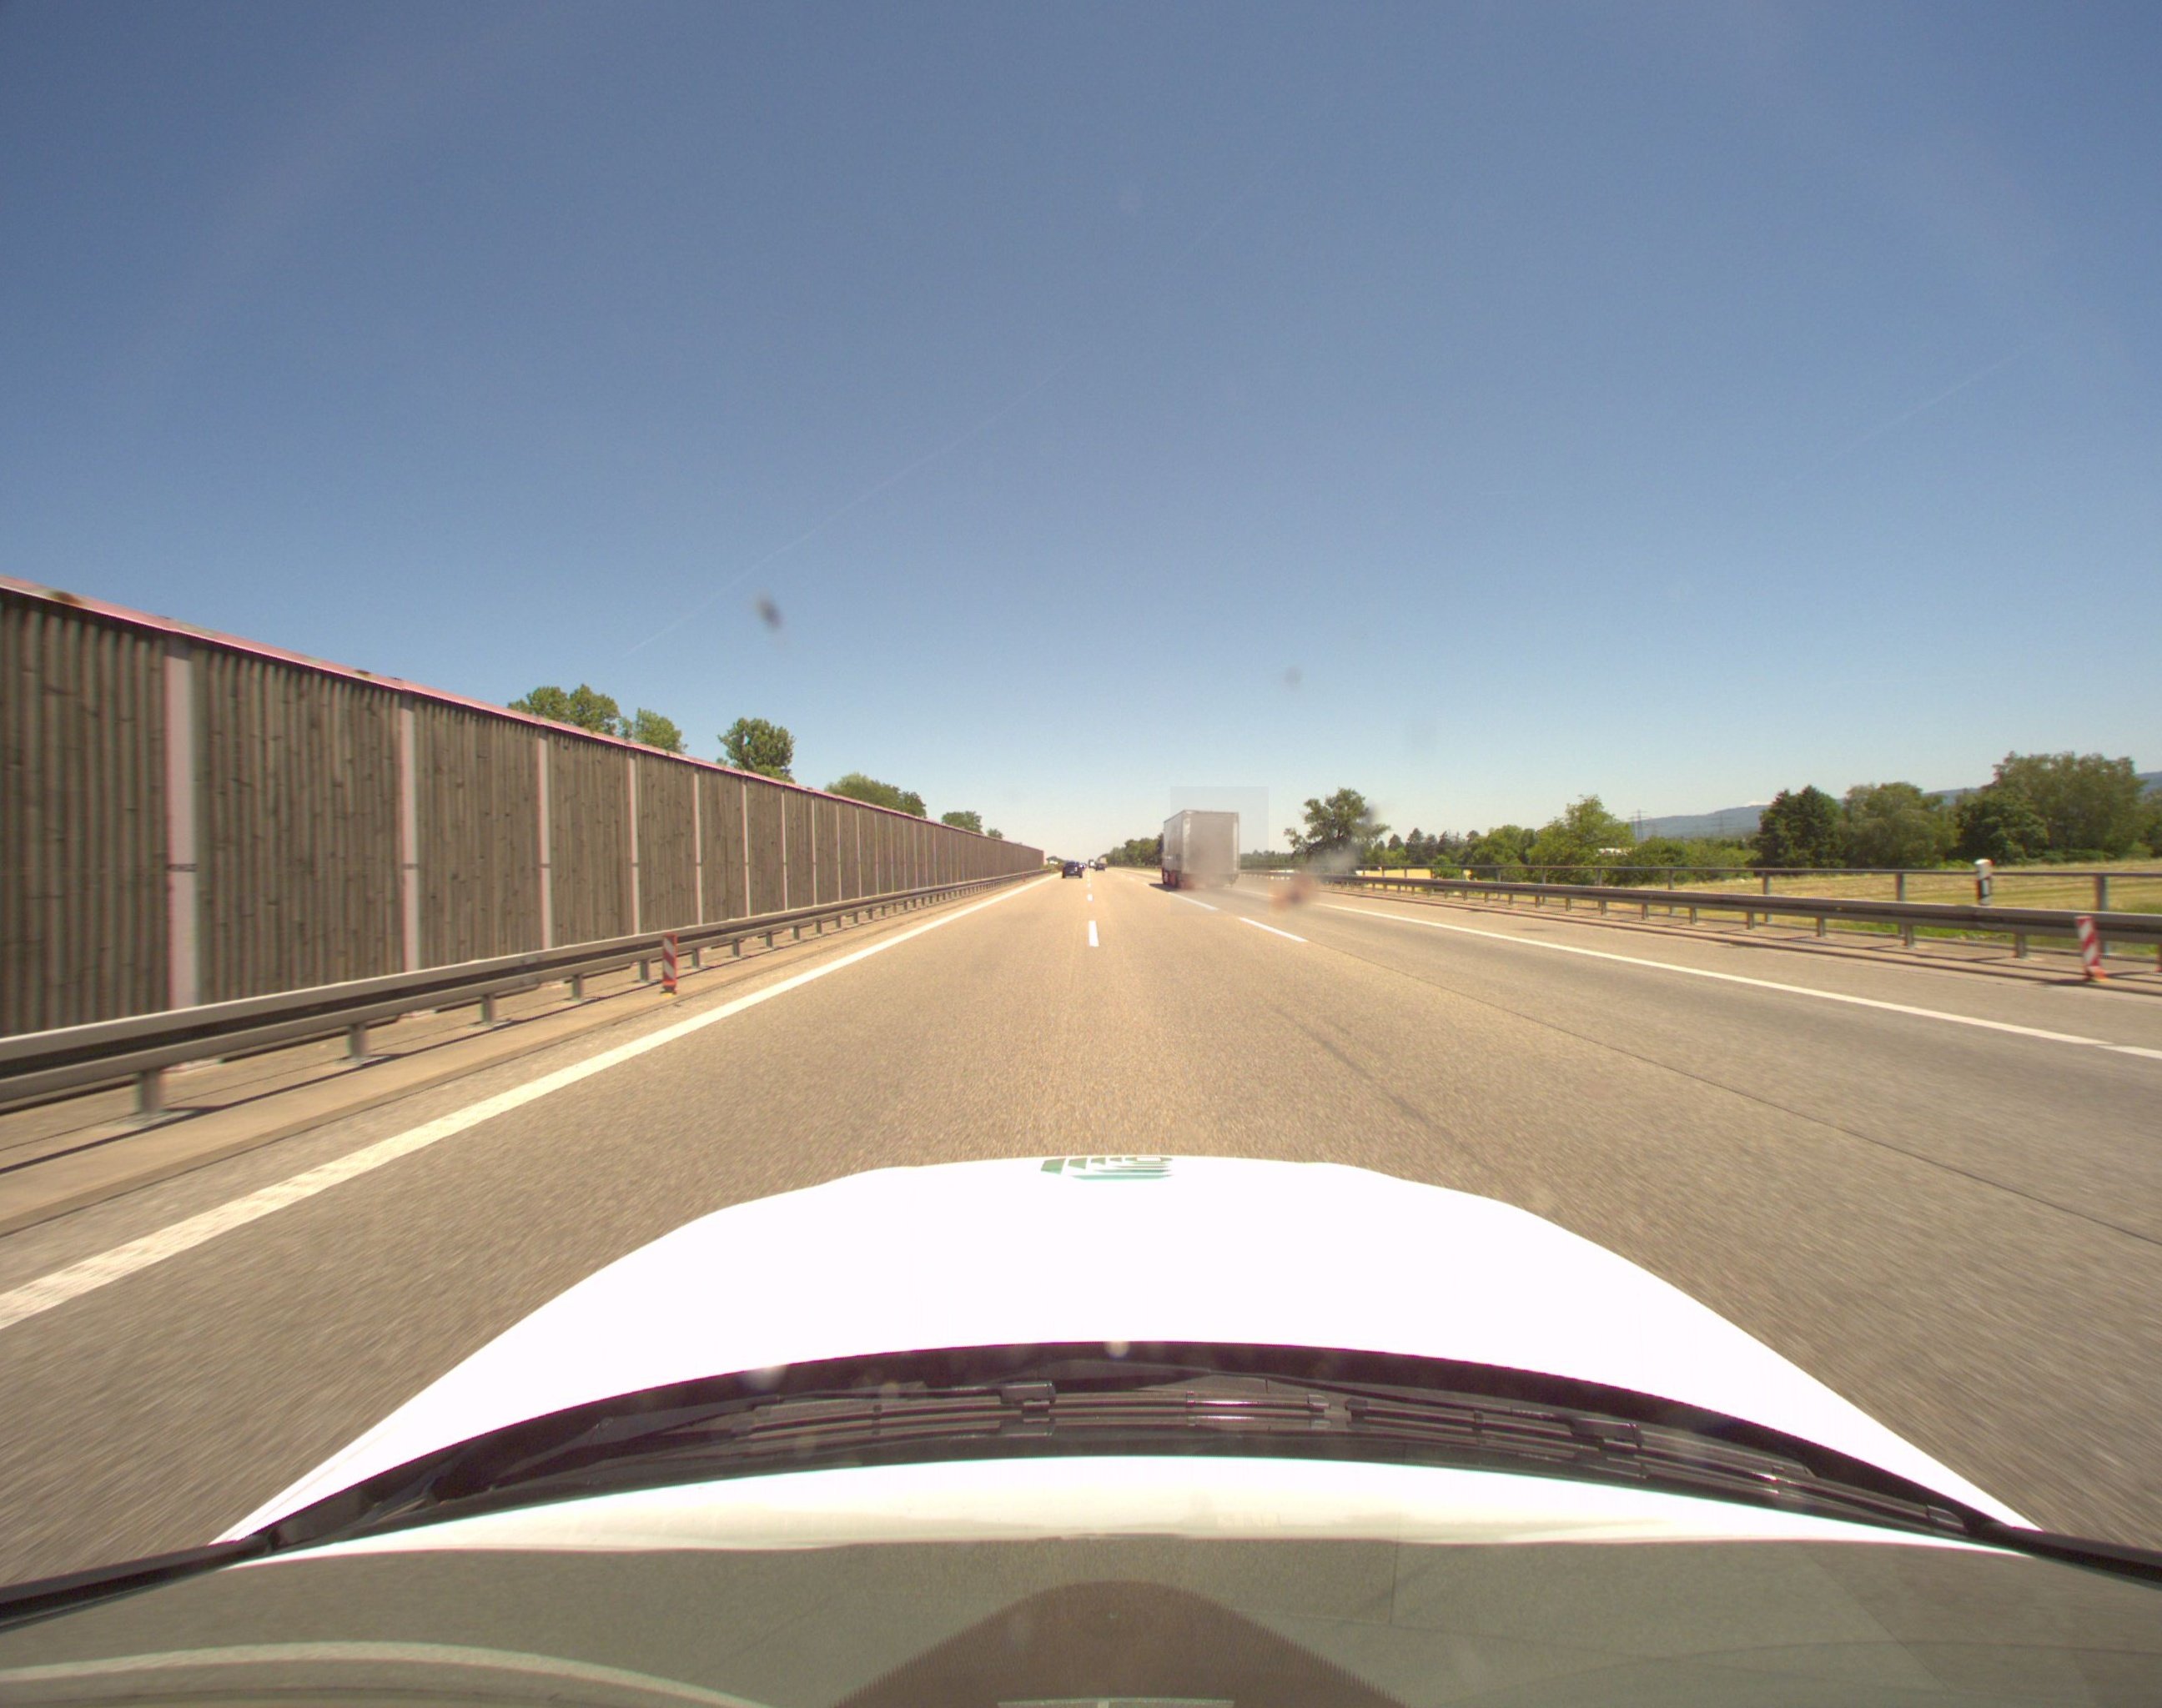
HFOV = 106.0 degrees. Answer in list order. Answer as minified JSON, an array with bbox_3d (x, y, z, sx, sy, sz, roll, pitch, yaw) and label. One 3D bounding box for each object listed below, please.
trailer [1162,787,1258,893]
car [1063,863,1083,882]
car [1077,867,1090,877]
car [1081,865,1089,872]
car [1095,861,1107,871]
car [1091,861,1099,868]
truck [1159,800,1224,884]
[{"bbox_3d":[6.675,-0.612,44.713,3.258,4.837,14.031,-1,0,1],"label":"trailer"},{"bbox_3d":[-0.795,1.803,80.280,1.874,1.792,3.998,-1,0,-1],"label":"car"},{"bbox_3d":[0.451,3.294,146.628,2.121,1.645,4.304,-2,-1,1],"label":"car"},{"bbox_3d":[1.047,3.742,213.084,2.121,1.645,4.304,-2,-1,1],"label":"car"},{"bbox_3d":[3.568,2.192,145.805,1.896,1.584,4.304,-2,-1,1],"label":"car"},{"bbox_3d":[3.383,2.450,194.747,1.896,1.584,4.304,-2,-1,1],"label":"car"},{"bbox_3d":[6.792,-0.669,51.212,3.223,4.889,6.972,-1,0,1],"label":"truck"}]
